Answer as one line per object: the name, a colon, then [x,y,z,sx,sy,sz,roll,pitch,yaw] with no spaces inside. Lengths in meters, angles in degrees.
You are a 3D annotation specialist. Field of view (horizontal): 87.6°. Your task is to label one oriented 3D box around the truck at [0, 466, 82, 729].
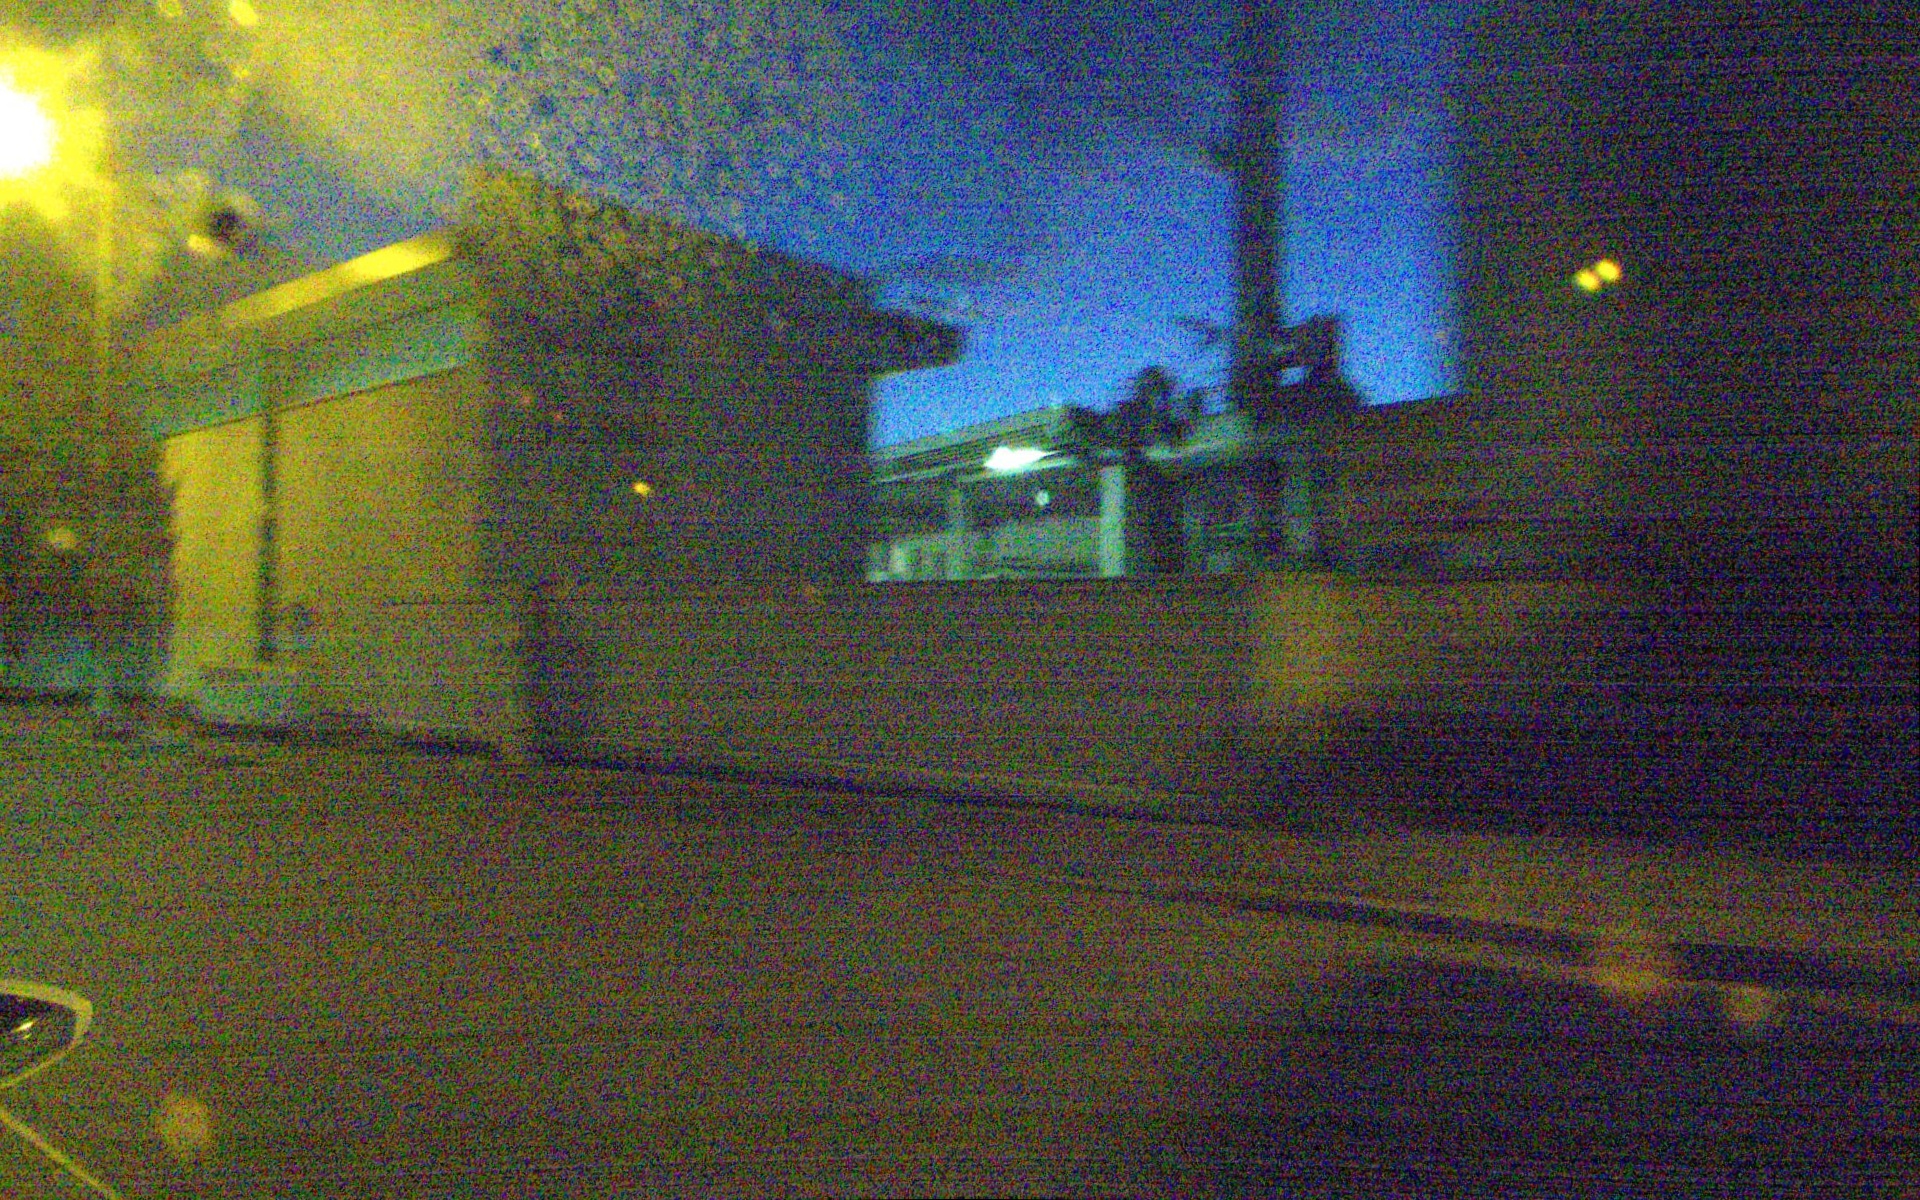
truck: [-19.455,0.099,17.332,10.192,4.034,3.516,-2,-2,31]
